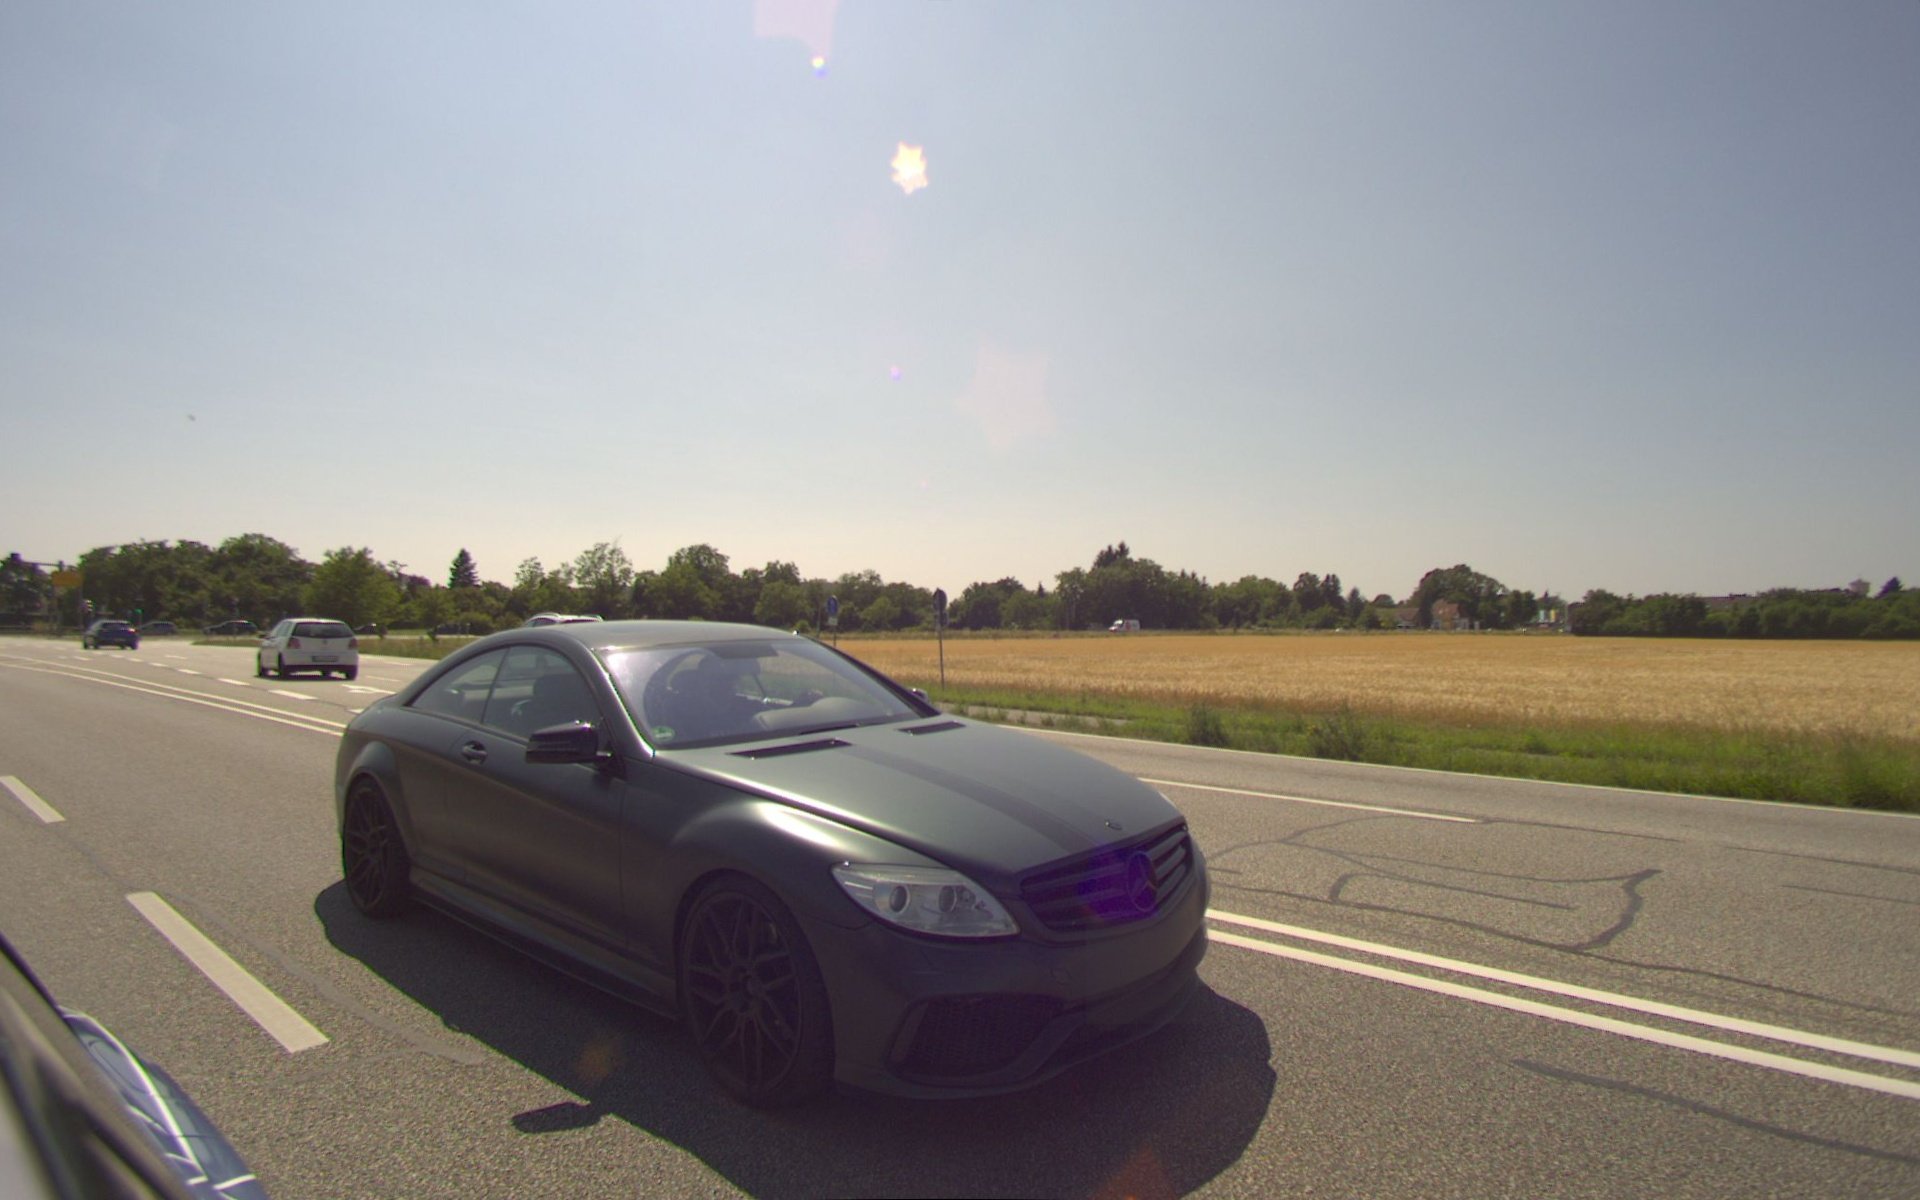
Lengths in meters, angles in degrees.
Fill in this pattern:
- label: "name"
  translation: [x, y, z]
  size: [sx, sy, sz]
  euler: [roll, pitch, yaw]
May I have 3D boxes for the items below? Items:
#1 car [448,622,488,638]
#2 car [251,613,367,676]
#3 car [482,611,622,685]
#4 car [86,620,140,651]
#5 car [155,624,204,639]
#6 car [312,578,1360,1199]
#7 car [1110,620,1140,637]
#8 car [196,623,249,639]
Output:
- label: "car"
  translation: [-57.011, 3.462, 117.287]
  size: [3.932, 1.586, 1.743]
  euler: [-1, 0, -32]
- label: "car"
  translation: [-16.480, 1.124, 25.523]
  size: [1.728, 1.453, 4.086]
  euler: [4, -4, -43]
- label: "car"
  translation: [-10.201, 1.168, 25.153]
  size: [1.645, 1.689, 4.466]
  euler: [3, -4, -44]
- label: "car"
  translation: [-43.366, 1.799, 51.775]
  size: [1.739, 1.468, 4.233]
  euler: [4, -3, -45]
- label: "car"
  translation: [-77.811, 3.128, 100.850]
  size: [3.819, 1.397, 1.638]
  euler: [1, -2, -39]
- label: "car"
  translation: [-1.030, 0.712, 4.457]
  size: [4.875, 1.461, 1.792]
  euler: [-1, 0, 41]
- label: "car"
  translation: [30.449, 5.255, 186.511]
  size: [6.283, 2.931, 2.003]
  euler: [-1, 0, -41]
- label: "car"
  translation: [-74.426, 3.161, 102.142]
  size: [4.298, 1.606, 1.638]
  euler: [2, -3, -37]
